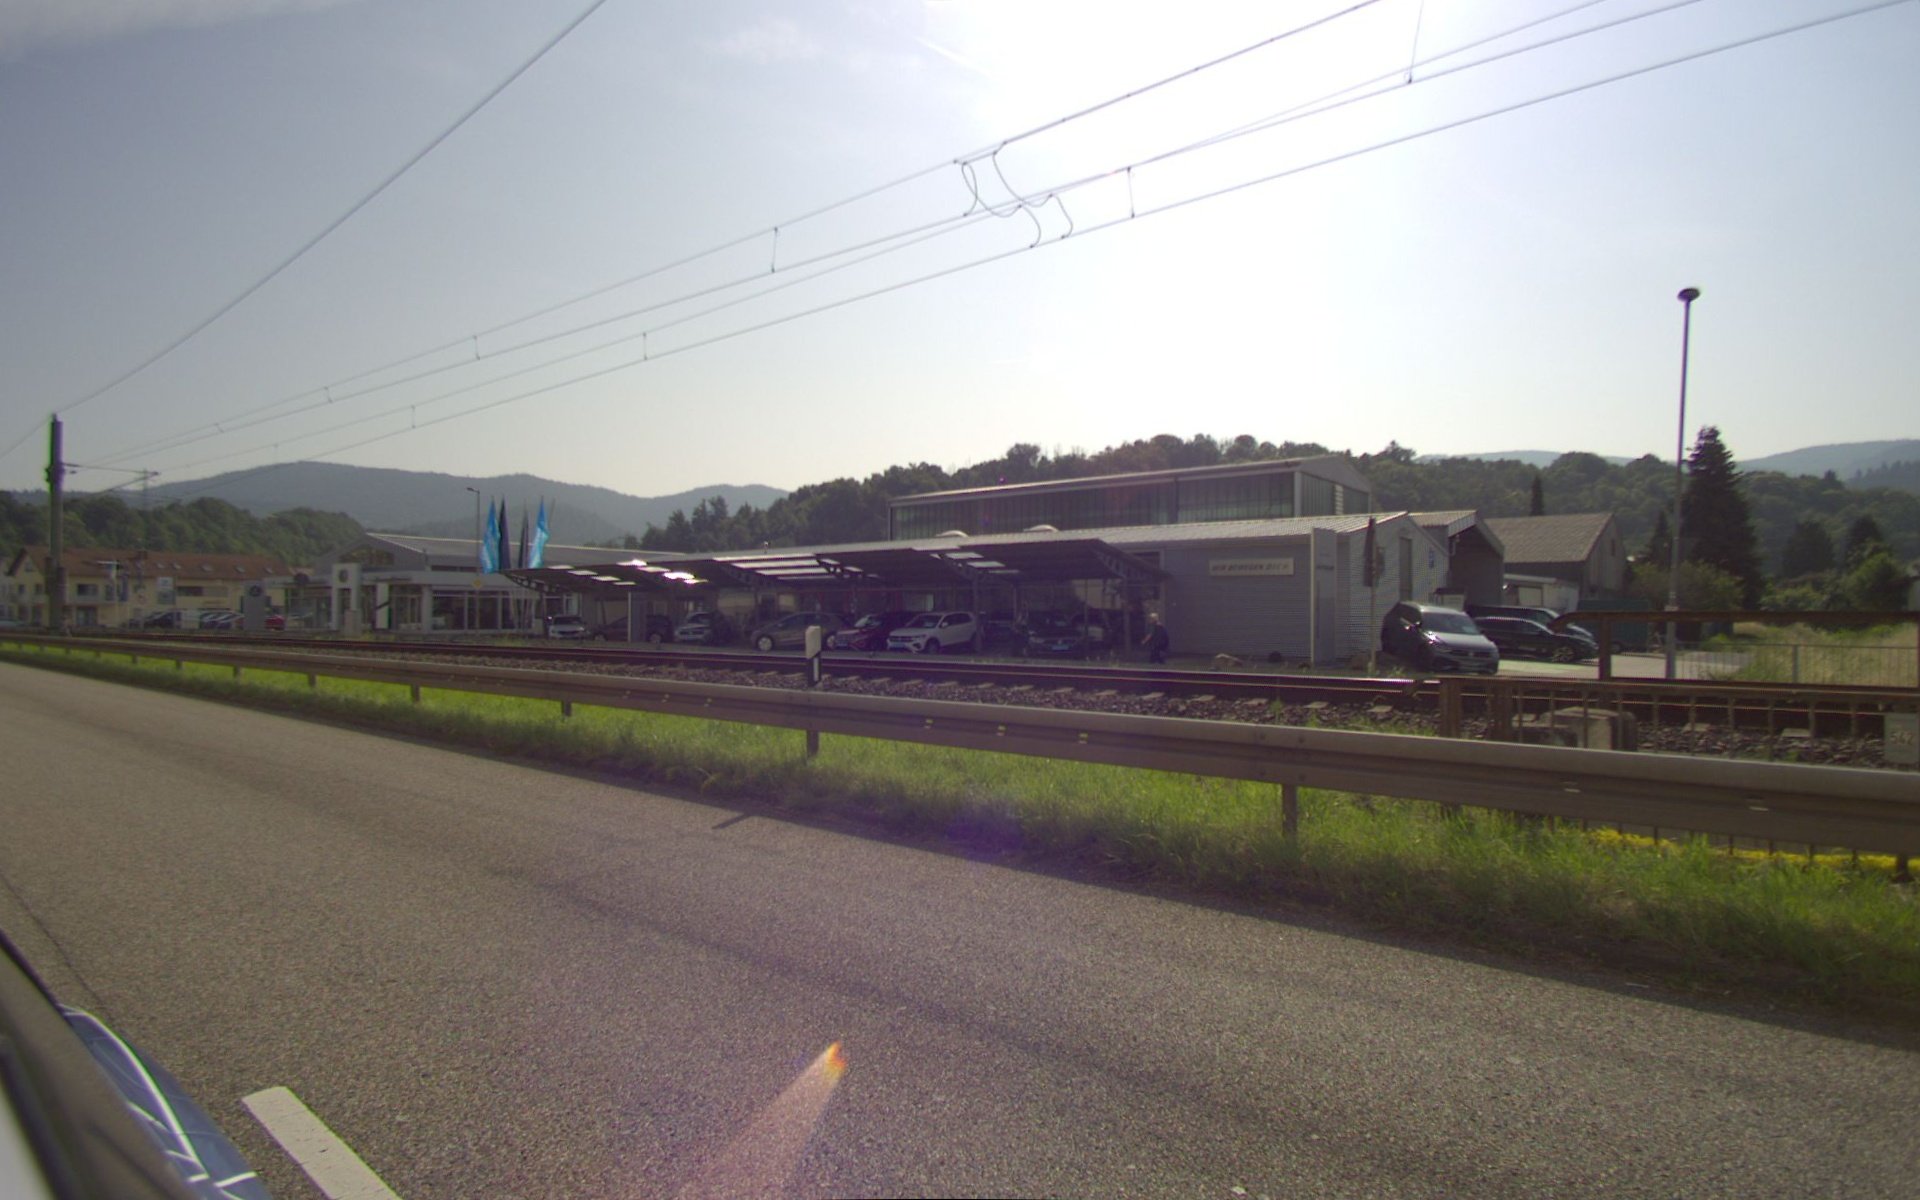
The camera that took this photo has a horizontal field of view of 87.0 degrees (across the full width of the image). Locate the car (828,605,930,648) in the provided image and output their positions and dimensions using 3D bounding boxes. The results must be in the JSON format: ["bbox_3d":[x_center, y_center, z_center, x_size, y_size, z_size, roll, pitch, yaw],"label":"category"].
[{"bbox_3d":[-2.948,0.940,37.567,1.500,1.335,3.919,0,2,38],"label":"car"}]

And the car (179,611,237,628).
[{"bbox_3d":[-68.934,1.774,92.867,1.757,1.471,3.950,-1,-1,36],"label":"car"}]

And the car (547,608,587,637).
[{"bbox_3d":[-19.911,1.107,51.310,1.815,1.396,4.538,0,0,-21],"label":"car"}]

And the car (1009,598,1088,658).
[{"bbox_3d":[2.797,0.851,32.929,1.637,1.634,4.039,-2,2,-8],"label":"car"}]

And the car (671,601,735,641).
[{"bbox_3d":[-11.447,0.898,45.278,1.821,1.539,4.273,-2,2,-1],"label":"car"}]

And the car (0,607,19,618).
[{"bbox_3d":[-115.495,1.513,121.251,1.643,1.309,3.817,-1,0,31],"label":"car"}]

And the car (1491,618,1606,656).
[{"bbox_3d":[21.089,1.302,36.310,3.476,1.278,1.441,-1,-1,33],"label":"car"}]

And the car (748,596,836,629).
[{"bbox_3d":[-8.207,0.598,49.721,1.905,1.516,4.126,0,0,36],"label":"car"}]

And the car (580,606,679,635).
[{"bbox_3d":[-15.739,0.961,48.361,4.147,1.352,1.848,0,0,-2],"label":"car"}]

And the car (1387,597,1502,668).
[{"bbox_3d":[13.321,0.829,28.078,1.504,1.541,3.996,0,4,5],"label":"car"}]

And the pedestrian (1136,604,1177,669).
[{"bbox_3d":[5.374,0.985,27.671,0.835,1.747,0.794,-1,-1,40],"label":"pedestrian"}]

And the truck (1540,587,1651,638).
[{"bbox_3d":[32.683,0.628,52.092,4.636,2.443,1.975,2,0,37],"label":"truck"}]

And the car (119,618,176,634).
[{"bbox_3d":[-77.501,2.506,96.550,1.757,1.471,3.950,-1,-1,36],"label":"car"}]

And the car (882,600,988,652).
[{"bbox_3d":[-0.821,0.872,35.953,1.661,1.539,3.919,0,2,38],"label":"car"}]

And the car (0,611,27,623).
[{"bbox_3d":[-113.244,2.028,119.829,1.643,1.309,3.817,-1,0,31],"label":"car"}]

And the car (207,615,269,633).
[{"bbox_3d":[-61.457,2.007,86.259,1.751,1.471,3.965,0,-1,26],"label":"car"}]

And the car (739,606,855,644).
[{"bbox_3d":[-6.540,0.995,40.922,4.374,1.516,1.846,0,0,2],"label":"car"}]

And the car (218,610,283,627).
[{"bbox_3d":[-58.189,1.499,83.046,1.855,1.385,3.957,-1,-1,31],"label":"car"}]

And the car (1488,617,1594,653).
[{"bbox_3d":[22.335,1.316,38.909,3.476,1.308,1.441,-1,-1,33],"label":"car"}]
